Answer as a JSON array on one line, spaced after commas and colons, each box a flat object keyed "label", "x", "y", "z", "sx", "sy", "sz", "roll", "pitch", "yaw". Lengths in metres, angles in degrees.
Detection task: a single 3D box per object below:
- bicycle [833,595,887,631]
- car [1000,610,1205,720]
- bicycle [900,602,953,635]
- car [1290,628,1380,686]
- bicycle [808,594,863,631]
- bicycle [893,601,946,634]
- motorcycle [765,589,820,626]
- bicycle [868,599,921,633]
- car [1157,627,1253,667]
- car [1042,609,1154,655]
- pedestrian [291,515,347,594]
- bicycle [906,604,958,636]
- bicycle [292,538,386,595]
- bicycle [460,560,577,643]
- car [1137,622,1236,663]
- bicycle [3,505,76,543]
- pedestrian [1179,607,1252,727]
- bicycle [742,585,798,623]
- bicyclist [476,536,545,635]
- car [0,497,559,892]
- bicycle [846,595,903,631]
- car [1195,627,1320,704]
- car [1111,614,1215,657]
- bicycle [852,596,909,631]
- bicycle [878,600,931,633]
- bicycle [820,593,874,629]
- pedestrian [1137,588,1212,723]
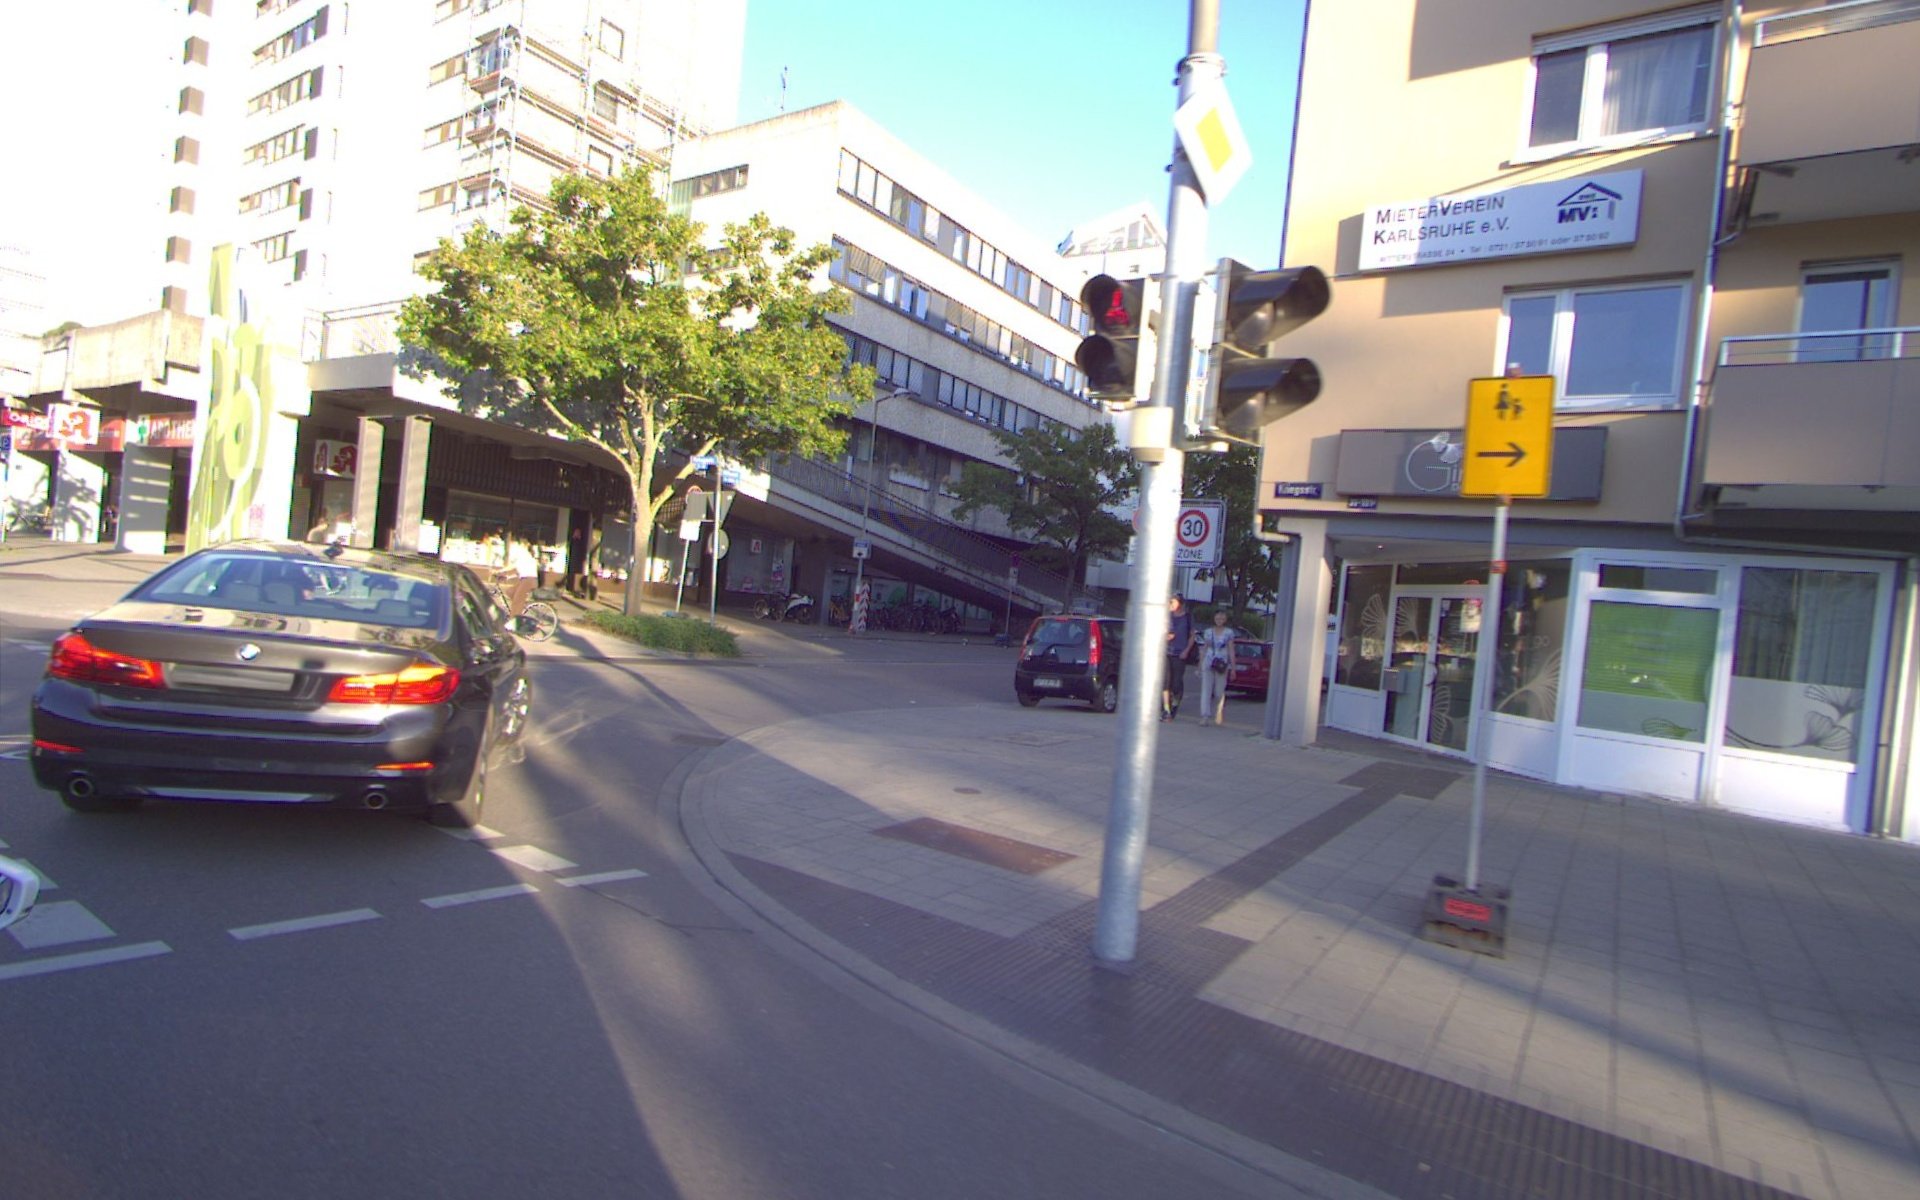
[{"label": "bicycle", "x": -3.635, "y": 0.462, "z": 36.417, "sx": 1.947, "sy": 1.086, "sz": 0.581, "roll": 5, "pitch": -3, "yaw": 36}, {"label": "car", "x": 2.565, "y": 1.071, "z": 17.309, "sx": 1.681, "sy": 1.605, "sz": 4.036, "roll": 3, "pitch": -1, "yaw": 37}, {"label": "bicycle", "x": -1.331, "y": 0.737, "z": 40.145, "sx": 1.941, "sy": 1.087, "sz": 0.583, "roll": 6, "pitch": -3, "yaw": 22}, {"label": "car", "x": 11.742, "y": 1.765, "z": 31.350, "sx": 1.679, "sy": 1.605, "sz": 4.040, "roll": 3, "pitch": -1, "yaw": 34}, {"label": "bicycle", "x": -4.386, "y": 0.430, "z": 35.383, "sx": 1.947, "sy": 1.086, "sz": 0.581, "roll": 5, "pitch": -3, "yaw": 36}, {"label": "bicycle", "x": -1.588, "y": 0.677, "z": 39.582, "sx": 1.943, "sy": 1.087, "sz": 0.583, "roll": 6, "pitch": -3, "yaw": 27}, {"label": "motorcycle", "x": -5.779, "y": 0.250, "z": 34.592, "sx": 1.848, "sy": 1.086, "sz": 0.646, "roll": 5, "pitch": -3, "yaw": 36}, {"label": "bicycle", "x": -2.541, "y": 0.599, "z": 38.807, "sx": 1.944, "sy": 1.087, "sz": 0.582, "roll": 5, "pitch": -3, "yaw": 30}, {"label": "car", "x": 11.575, "y": 2.207, "z": 47.604, "sx": 3.991, "sy": 1.605, "sz": 1.700, "roll": 2, "pitch": 0, "yaw": 34}, {"label": "car", "x": 5.440, "y": 1.252, "z": 39.723, "sx": 3.991, "sy": 1.605, "sz": 1.700, "roll": 2, "pitch": 0, "yaw": 34}, {"label": "pedestrian", "x": -14.993, "y": -1.070, "z": 23.548, "sx": 0.638, "sy": 1.733, "sz": 0.834, "roll": 7, "pitch": 1, "yaw": 40}, {"label": "bicycle", "x": -1.144, "y": 0.813, "z": 40.762, "sx": 1.941, "sy": 1.087, "sz": 0.583, "roll": 6, "pitch": -3, "yaw": 22}, {"label": "bicycle", "x": -15.412, "y": -0.827, "z": 24.982, "sx": 1.984, "sy": 1.162, "sz": 0.692, "roll": 6, "pitch": -2, "yaw": 15}, {"label": "bicycle", "x": -8.099, "y": 0.028, "z": 18.477, "sx": 1.753, "sy": 1.326, "sz": 0.653, "roll": 6, "pitch": 1, "yaw": 4}, {"label": "car", "x": 10.260, "y": 1.892, "z": 45.641, "sx": 3.991, "sy": 1.605, "sz": 1.700, "roll": 2, "pitch": 0, "yaw": 34}, {"label": "bicycle", "x": -37.386, "y": -3.081, "z": 40.890, "sx": 0.681, "sy": 1.162, "sz": 2.017, "roll": 5, "pitch": -4, "yaw": 39}, {"label": "pedestrian", "x": 3.665, "y": 0.953, "z": 14.388, "sx": 0.637, "sy": 1.606, "sz": 0.835, "roll": 6, "pitch": 1, "yaw": 32}, {"label": "bicycle", "x": -6.482, "y": 0.139, "z": 34.251, "sx": 1.947, "sy": 1.086, "sz": 0.581, "roll": 5, "pitch": -3, "yaw": 36}, {"label": "bicyclist", "x": -8.248, "y": -0.256, "z": 18.487, "sx": 0.805, "sy": 1.702, "sz": 0.653, "roll": 6, "pitch": 1, "yaw": 4}, {"label": "car", "x": -3.837, "y": 0.392, "z": 6.404, "sx": 1.910, "sy": 1.499, "sz": 4.504, "roll": 8, "pitch": -1, "yaw": -18}, {"label": "bicycle", "x": -3.229, "y": 0.500, "z": 37.964, "sx": 1.939, "sy": 1.087, "sz": 0.583, "roll": 6, "pitch": -2, "yaw": 14}, {"label": "car", "x": 7.237, "y": 1.539, "z": 24.199, "sx": 1.679, "sy": 1.605, "sz": 4.040, "roll": 3, "pitch": -1, "yaw": 34}, {"label": "car", "x": 8.651, "y": 1.515, "z": 42.986, "sx": 3.991, "sy": 1.605, "sz": 1.700, "roll": 2, "pitch": 0, "yaw": 34}, {"label": "bicycle", "x": -3.031, "y": 0.529, "z": 38.404, "sx": 1.939, "sy": 1.087, "sz": 0.584, "roll": 7, "pitch": -2, "yaw": 10}, {"label": "bicycle", "x": -2.168, "y": 0.633, "z": 39.239, "sx": 1.944, "sy": 1.087, "sz": 0.582, "roll": 5, "pitch": -3, "yaw": 30}, {"label": "bicycle", "x": -4.060, "y": 0.400, "z": 36.035, "sx": 1.947, "sy": 1.086, "sz": 0.581, "roll": 5, "pitch": -3, "yaw": 36}, {"label": "pedestrian", "x": 3.128, "y": 0.806, "z": 14.632, "sx": 0.637, "sy": 1.851, "sz": 0.835, "roll": 6, "pitch": 1, "yaw": 32}]
